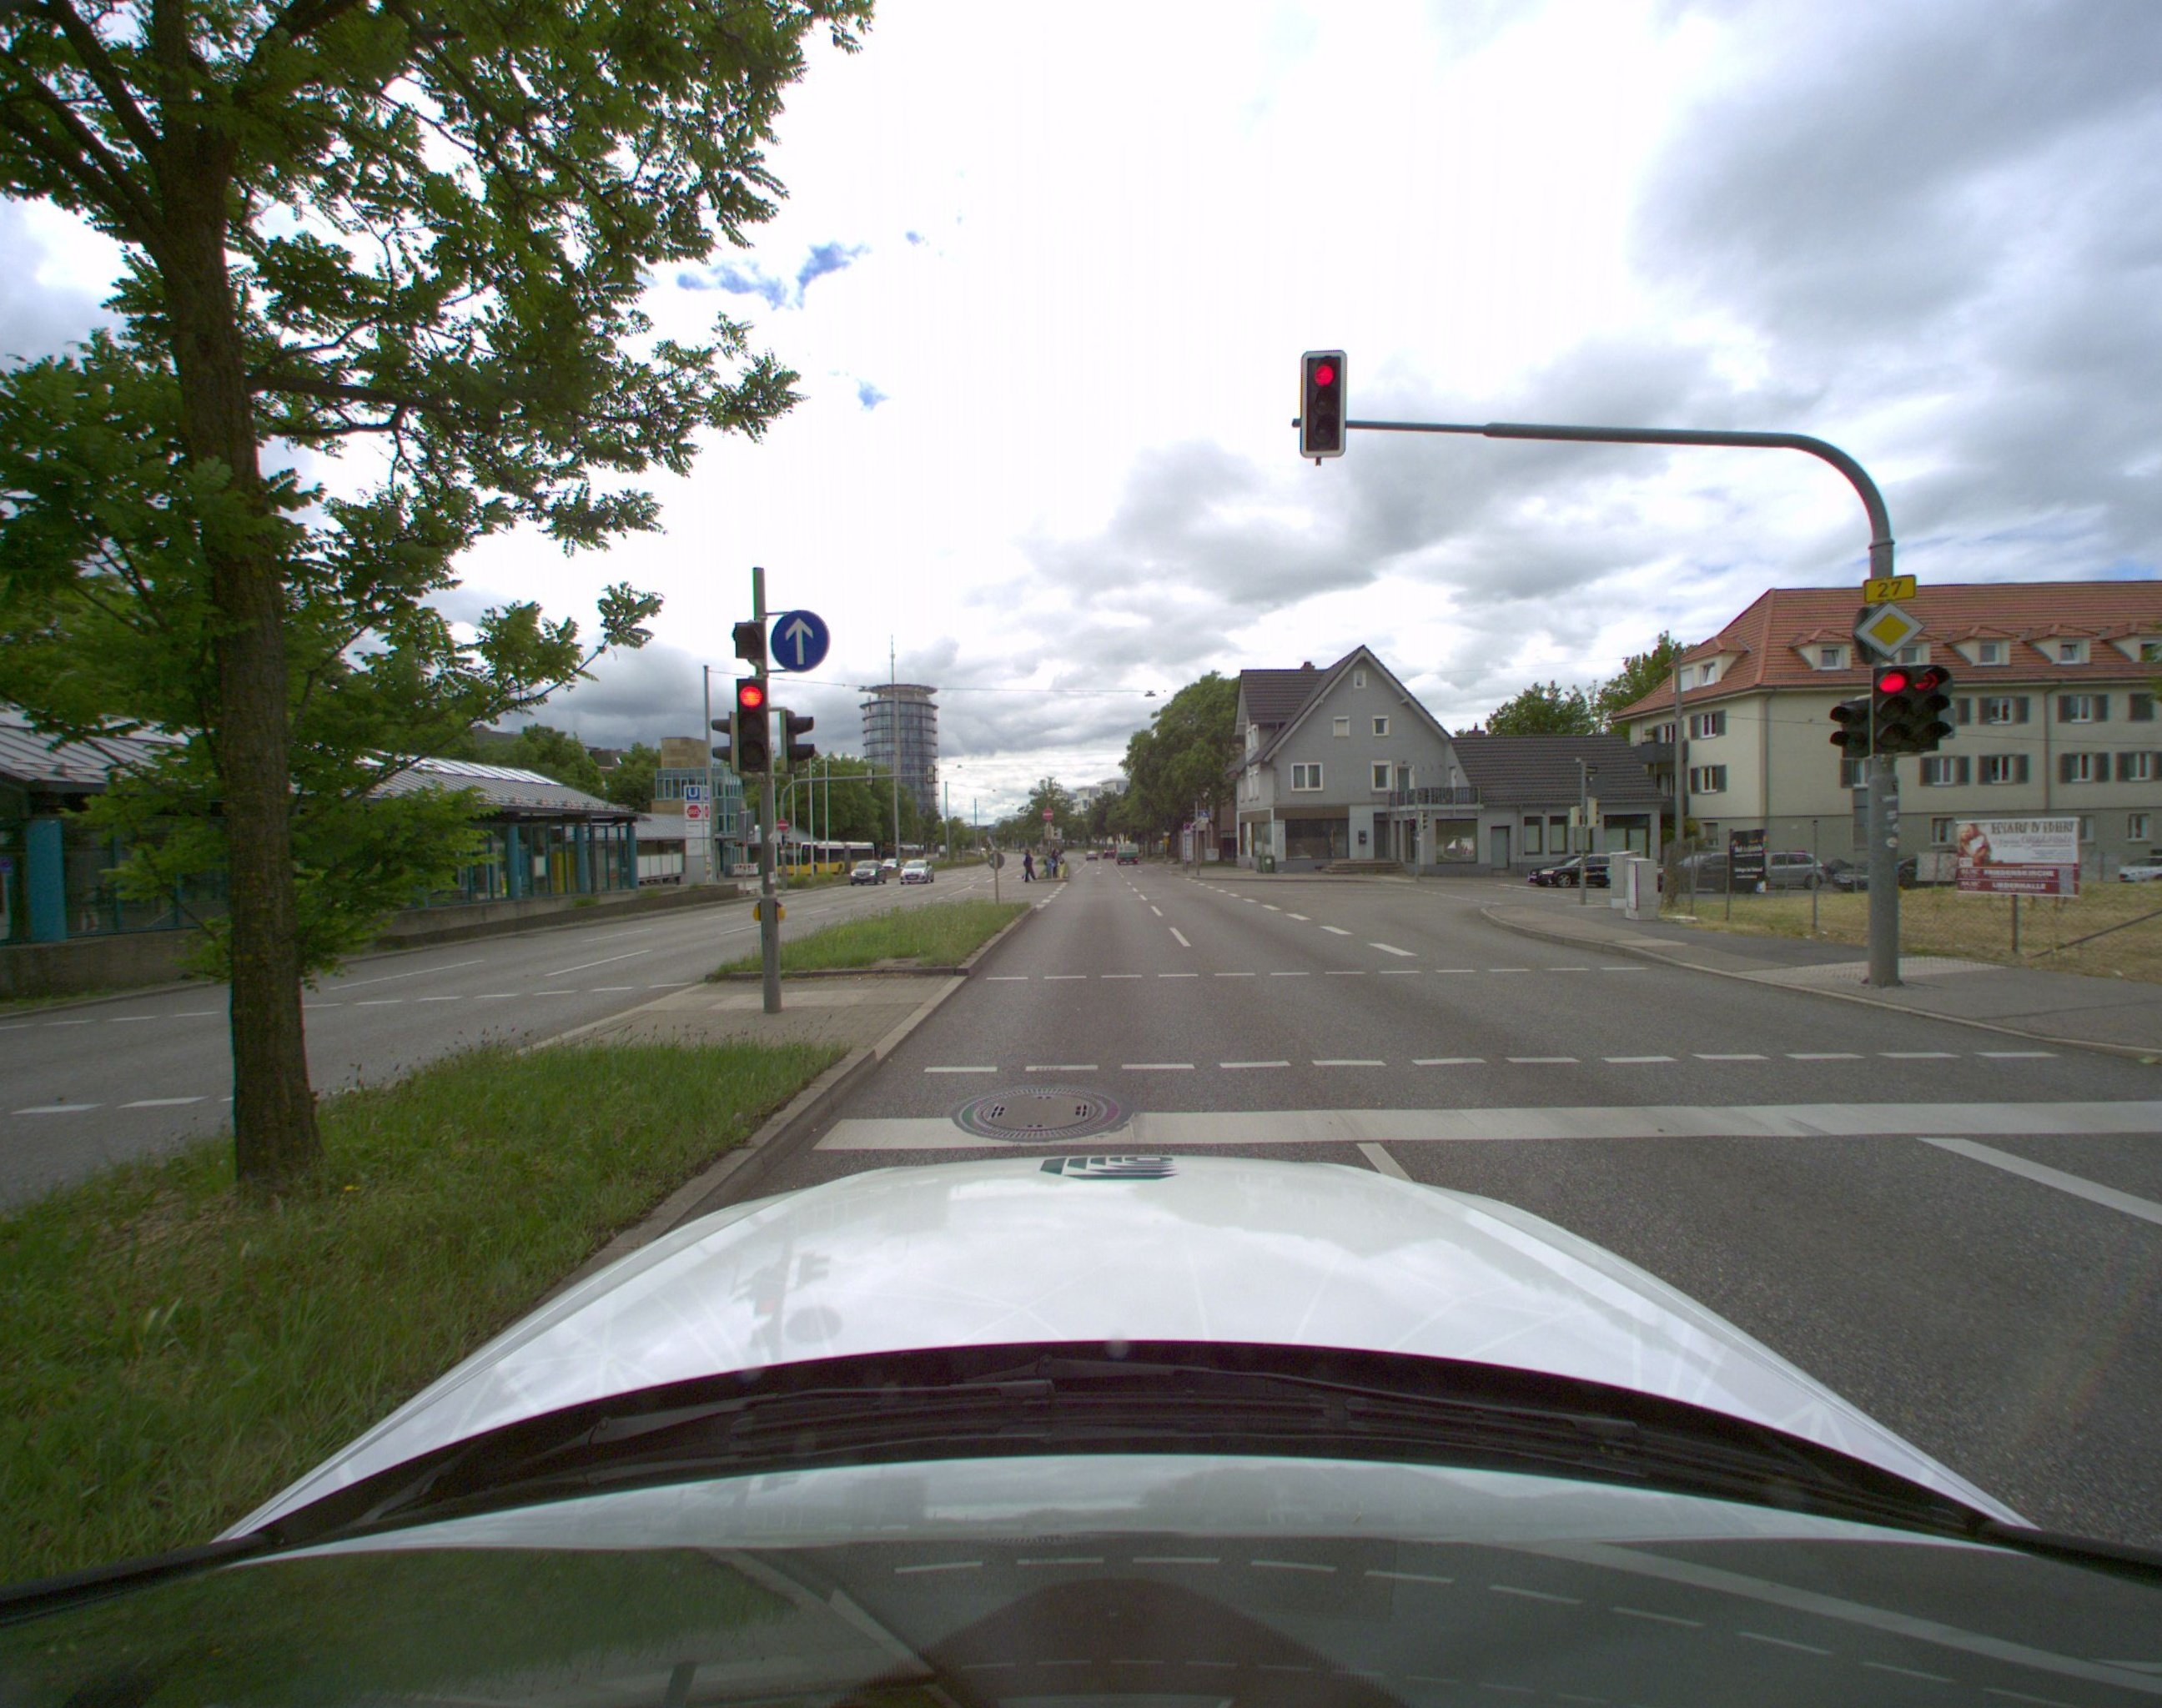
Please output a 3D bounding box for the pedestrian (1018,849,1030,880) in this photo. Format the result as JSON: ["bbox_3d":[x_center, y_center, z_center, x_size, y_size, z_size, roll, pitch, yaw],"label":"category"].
[{"bbox_3d":[-3.201,0.584,45.568,0.611,1.716,0.545,-2,0,-5],"label":"pedestrian"}]

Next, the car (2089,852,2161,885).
[{"bbox_3d":[46.006,0.619,34.638,4.075,1.371,1.800,0,0,0],"label":"car"}]

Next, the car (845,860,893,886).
[{"bbox_3d":[-13.457,1.197,51.914,1.987,1.486,4.000,-2,0,0],"label":"car"}]

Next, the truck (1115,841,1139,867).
[{"bbox_3d":[4.910,-0.045,86.884,2.460,2.611,6.553,0,1,3],"label":"truck"}]

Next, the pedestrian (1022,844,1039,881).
[{"bbox_3d":[-2.738,0.455,44.085,0.829,2.013,0.545,-2,0,-6],"label":"pedestrian"}]

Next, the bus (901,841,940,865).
[{"bbox_3d":[-24.641,-0.152,125.659,2.817,3.430,10.750,-2,0,6],"label":"bus"}]

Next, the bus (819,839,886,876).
[{"bbox_3d":[-23.201,0.334,83.444,2.817,3.430,10.750,-2,0,6],"label":"bus"}]

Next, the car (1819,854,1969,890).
[{"bbox_3d":[31.633,0.676,31.761,4.075,1.371,1.800,0,0,0],"label":"car"}]

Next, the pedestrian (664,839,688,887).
[{"bbox_3d":[-17.339,0.383,34.888,0.680,2.013,0.645,-2,0,-3],"label":"pedestrian"}]

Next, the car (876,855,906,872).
[{"bbox_3d":[-19.453,0.953,83.521,1.798,1.662,4.003,-2,0,3],"label":"car"}]

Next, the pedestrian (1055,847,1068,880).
[{"bbox_3d":[-1.055,0.512,44.101,0.652,1.716,0.451,-2,0,-6],"label":"pedestrian"}]

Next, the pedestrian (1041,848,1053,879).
[{"bbox_3d":[-1.883,0.524,45.434,0.582,1.716,0.545,-2,0,-5],"label":"pedestrian"}]

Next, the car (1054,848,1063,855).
[{"bbox_3d":[-4.882,-0.516,176.581,1.988,1.519,3.997,-2,0,-2],"label":"car"}]

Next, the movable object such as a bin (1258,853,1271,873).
[{"bbox_3d":[10.011,0.482,44.415,0.613,1.043,0.590,0,0,3],"label":"movable object such as a bin"}]

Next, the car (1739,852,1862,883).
[{"bbox_3d":[32.851,0.612,37.255,4.075,1.371,1.800,0,0,0],"label":"car"}]

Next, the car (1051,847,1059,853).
[{"bbox_3d":[-7.494,-1.195,231.932,1.992,1.552,3.990,-2,0,-7],"label":"car"}]

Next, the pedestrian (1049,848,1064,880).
[{"bbox_3d":[-1.349,0.522,44.714,0.744,1.716,0.582,-2,0,-6],"label":"pedestrian"}]

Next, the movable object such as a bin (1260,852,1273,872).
[{"bbox_3d":[9.967,0.436,43.762,0.602,1.059,0.590,0,0,3],"label":"movable object such as a bin"}]

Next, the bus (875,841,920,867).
[{"bbox_3d":[-25.718,-0.027,114.936,2.817,3.430,10.750,-2,0,6],"label":"bus"}]

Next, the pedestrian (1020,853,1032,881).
[{"bbox_3d":[-3.028,0.698,44.879,0.543,1.496,0.485,-2,0,-9],"label":"pedestrian"}]

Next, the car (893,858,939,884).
[{"bbox_3d":[-10.370,1.031,51.351,1.987,1.486,4.000,-2,0,0],"label":"car"}]

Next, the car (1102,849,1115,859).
[{"bbox_3d":[4.369,0.057,129.122,1.986,1.552,4.001,0,0,1],"label":"car"}]

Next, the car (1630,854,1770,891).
[{"bbox_3d":[23.779,0.701,31.387,4.075,1.371,1.800,0,0,0],"label":"car"}]

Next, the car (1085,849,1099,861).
[{"bbox_3d":[1.661,0.142,119.955,1.986,1.830,4.001,-1,0,1],"label":"car"}]

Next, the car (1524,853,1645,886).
[{"bbox_3d":[21.420,0.638,34.751,4.075,1.371,1.800,0,0,0],"label":"car"}]

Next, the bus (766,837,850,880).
[{"bbox_3d":[-24.225,0.358,73.072,2.817,3.430,10.750,-2,0,6],"label":"bus"}]
